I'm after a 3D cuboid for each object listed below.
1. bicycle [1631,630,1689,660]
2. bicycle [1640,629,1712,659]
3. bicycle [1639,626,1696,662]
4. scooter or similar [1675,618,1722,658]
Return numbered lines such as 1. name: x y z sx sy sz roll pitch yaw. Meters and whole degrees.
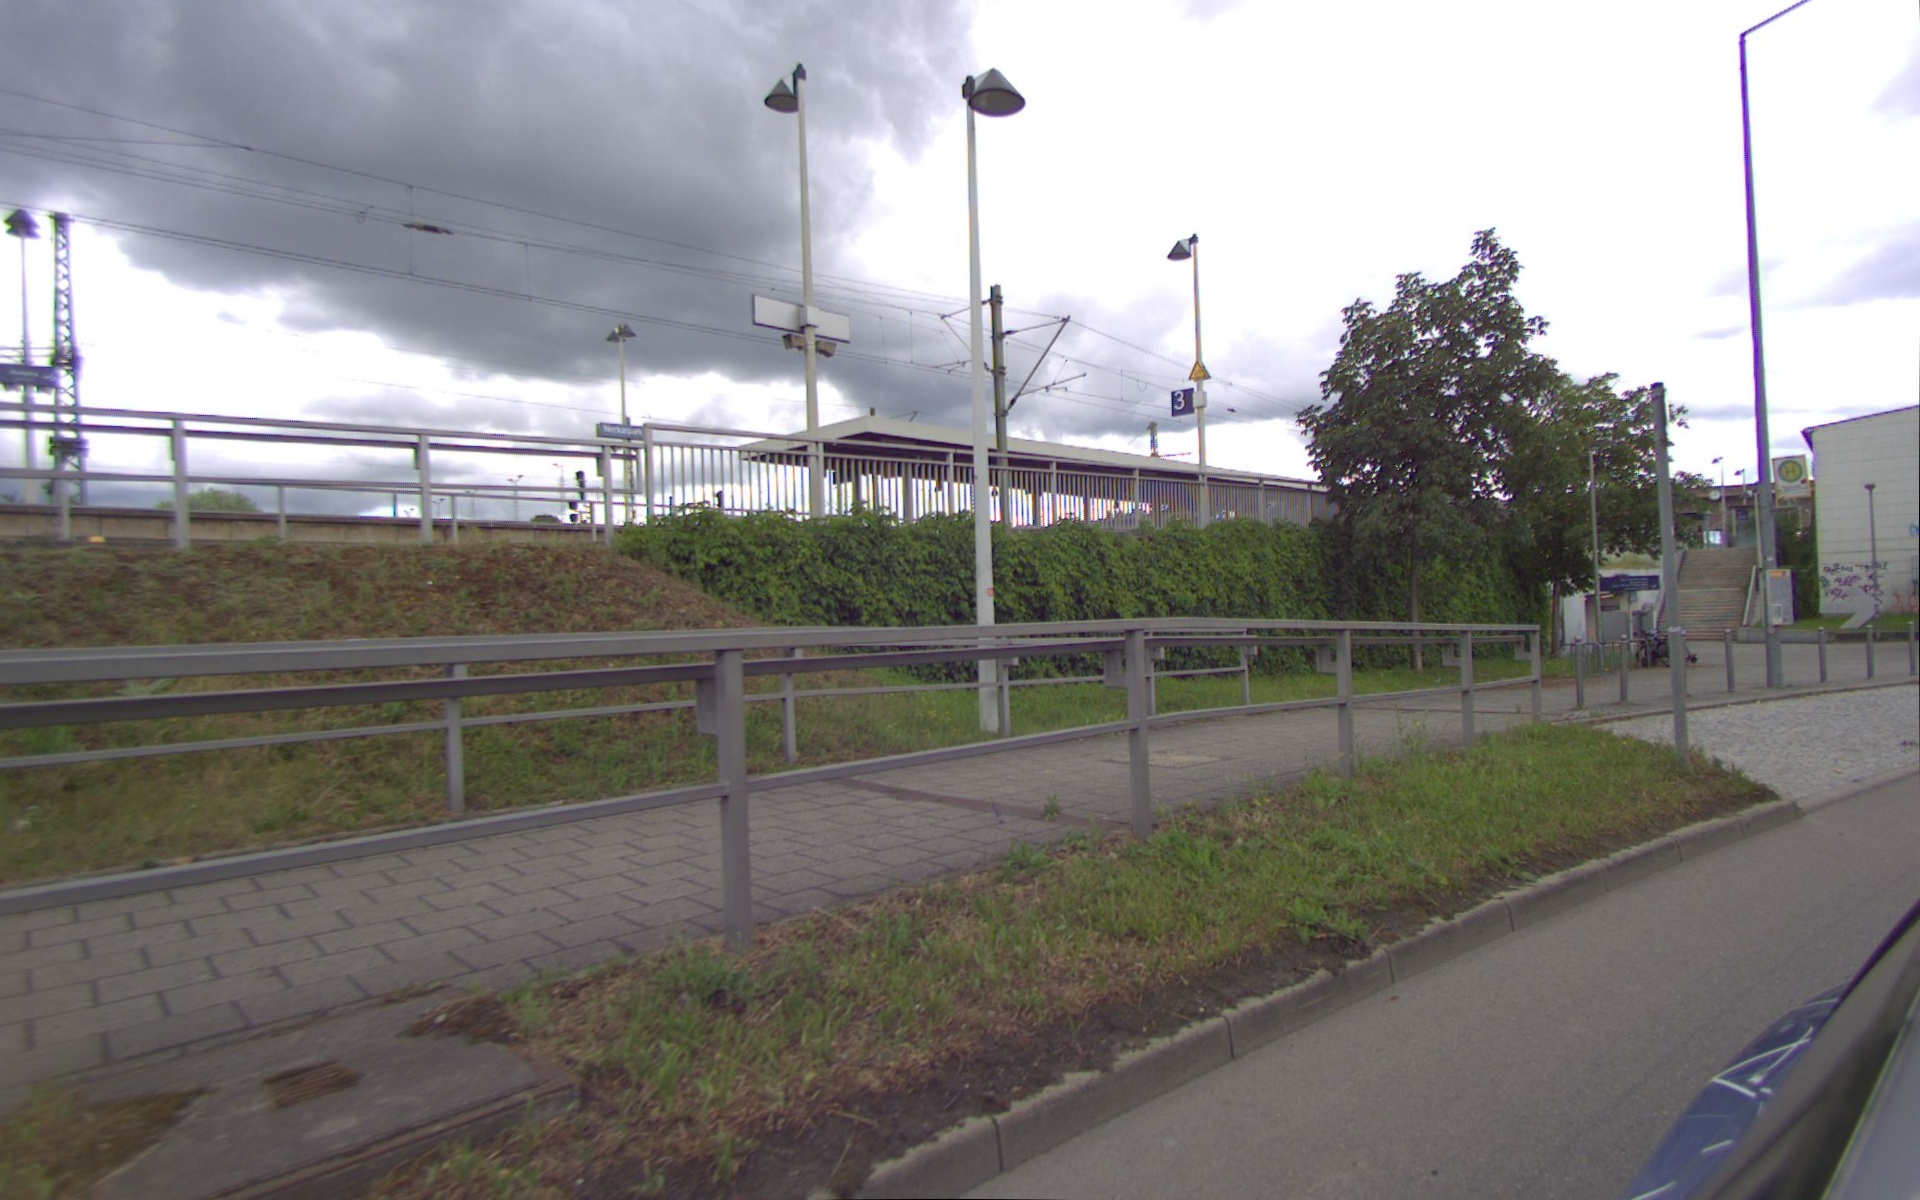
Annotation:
1. bicycle: 21.144 1.368 30.609 0.454 0.865 1.581 -1 -3 -8
2. bicycle: 22.283 1.386 31.540 0.500 0.876 1.974 -1 -4 -11
3. bicycle: 20.659 1.285 29.588 0.682 1.002 1.489 -1 -2 7
4. scooter or similar: 23.542 1.209 32.272 0.459 1.222 1.192 -1 -3 -8
